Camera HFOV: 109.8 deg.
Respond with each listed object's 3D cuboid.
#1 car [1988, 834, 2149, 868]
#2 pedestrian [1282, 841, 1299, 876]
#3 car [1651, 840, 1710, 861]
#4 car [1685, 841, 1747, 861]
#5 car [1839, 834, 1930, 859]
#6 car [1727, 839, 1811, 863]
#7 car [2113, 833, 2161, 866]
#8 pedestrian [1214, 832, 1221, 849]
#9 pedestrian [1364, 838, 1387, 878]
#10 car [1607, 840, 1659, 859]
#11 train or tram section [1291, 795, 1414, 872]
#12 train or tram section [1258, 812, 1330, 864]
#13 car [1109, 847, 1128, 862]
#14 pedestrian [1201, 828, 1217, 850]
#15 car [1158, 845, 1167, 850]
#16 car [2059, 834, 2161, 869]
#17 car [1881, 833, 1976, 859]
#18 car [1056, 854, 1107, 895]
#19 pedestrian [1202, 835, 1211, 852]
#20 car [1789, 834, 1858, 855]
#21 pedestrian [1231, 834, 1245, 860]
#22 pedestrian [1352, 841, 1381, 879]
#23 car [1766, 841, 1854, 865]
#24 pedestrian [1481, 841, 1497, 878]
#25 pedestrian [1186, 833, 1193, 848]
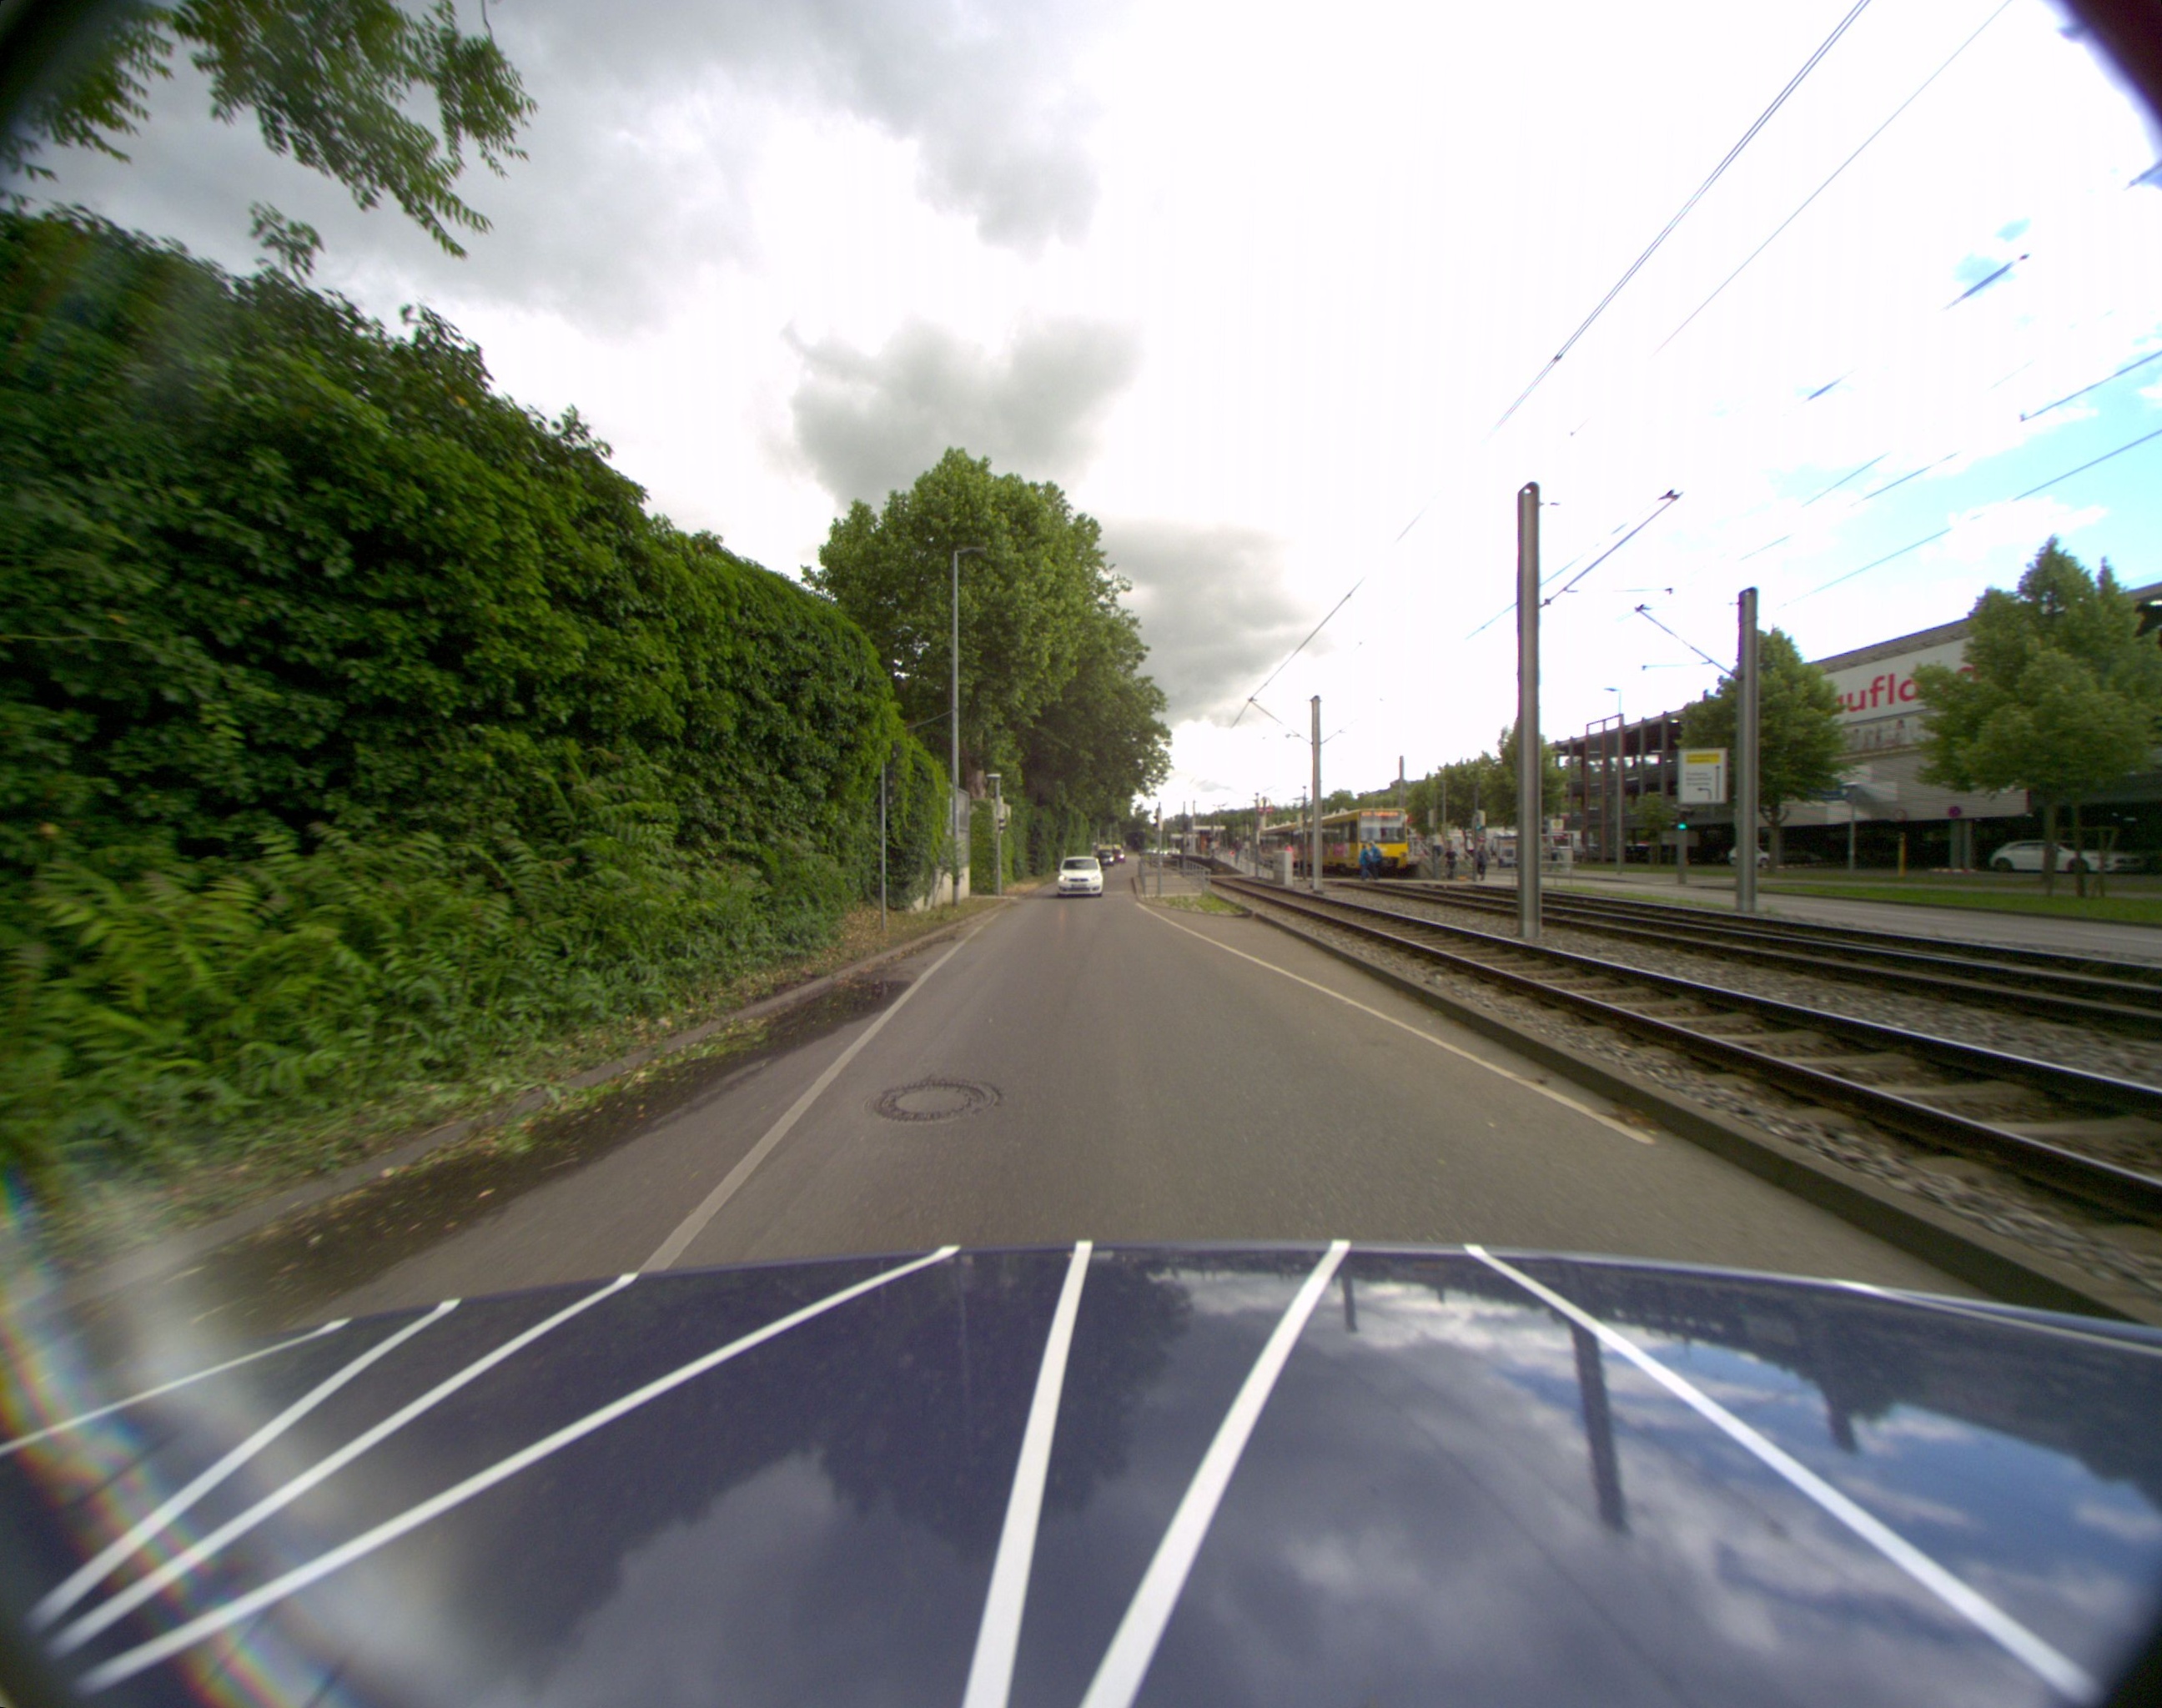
[{"bbox_3d":[41.440,-0.127,32.049,1.639,1.316,4.073,-1,0,3],"label":"car"},{"bbox_3d":[9.898,0.204,35.898,0.613,1.644,0.797,2,2,25],"label":"pedestrian"},{"bbox_3d":[46.112,-0.314,58.548,1.727,1.506,3.796,1,1,4],"label":"car"},{"bbox_3d":[48.720,-0.257,58.353,1.727,1.506,3.796,1,1,4],"label":"car"},{"bbox_3d":[50.195,-0.466,47.558,1.758,1.506,3.870,-1,0,4],"label":"car"},{"bbox_3d":[42.738,-0.226,47.349,1.782,1.390,4.001,1,1,5],"label":"car"},{"bbox_3d":[46.701,-0.161,31.631,1.845,1.424,4.198,1,1,4],"label":"car"},{"bbox_3d":[11.363,-1.136,63.302,0.480,1.398,0.411,1,1,3],"label":"pedestrian"},{"bbox_3d":[12.958,0.172,33.427,0.726,1.688,0.658,2,2,35],"label":"pedestrian"},{"bbox_3d":[46.411,-0.395,63.958,1.727,1.506,3.796,1,1,4],"label":"car"},{"bbox_3d":[16.217,-1.105,47.477,2.762,3.806,18.638,-1,0,6],"label":"train or tram section"},{"bbox_3d":[18.063,-1.272,66.110,2.762,3.860,18.638,-1,0,6],"label":"train or tram section"},{"bbox_3d":[4.166,0.039,84.466,1.895,1.607,4.509,-1,1,5],"label":"car"},{"bbox_3d":[9.885,-1.149,58.609,0.878,1.668,0.743,0,2,-42],"label":"pedestrian"},{"bbox_3d":[22.746,-1.847,212.248,1.996,1.527,4.004,1,1,13],"label":"car"},{"bbox_3d":[44.328,-0.105,31.645,1.845,1.424,4.198,1,1,4],"label":"car"},{"bbox_3d":[52.756,-0.499,47.414,1.758,1.506,3.870,-1,0,4],"label":"car"},{"bbox_3d":[-0.028,0.760,29.739,1.674,1.439,3.603,-1,0,-5],"label":"car"},{"bbox_3d":[10.749,-0.903,65.083,0.519,1.474,0.583,2,2,42],"label":"pedestrian"},{"bbox_3d":[56.053,-0.687,57.438,1.727,1.506,3.796,-1,0,4],"label":"car"},{"bbox_3d":[10.047,-0.462,48.676,0.773,1.668,0.791,1,1,4],"label":"pedestrian"},{"bbox_3d":[12.293,0.245,32.712,0.938,1.602,0.716,2,2,36],"label":"pedestrian"},{"bbox_3d":[45.152,-0.112,47.174,1.782,1.395,4.001,1,1,5],"label":"car"},{"bbox_3d":[18.604,0.259,34.645,0.517,1.652,0.466,2,2,15],"label":"pedestrian"},{"bbox_3d":[12.501,-1.543,87.521,0.750,1.734,0.937,1,1,4],"label":"pedestrian"}]
